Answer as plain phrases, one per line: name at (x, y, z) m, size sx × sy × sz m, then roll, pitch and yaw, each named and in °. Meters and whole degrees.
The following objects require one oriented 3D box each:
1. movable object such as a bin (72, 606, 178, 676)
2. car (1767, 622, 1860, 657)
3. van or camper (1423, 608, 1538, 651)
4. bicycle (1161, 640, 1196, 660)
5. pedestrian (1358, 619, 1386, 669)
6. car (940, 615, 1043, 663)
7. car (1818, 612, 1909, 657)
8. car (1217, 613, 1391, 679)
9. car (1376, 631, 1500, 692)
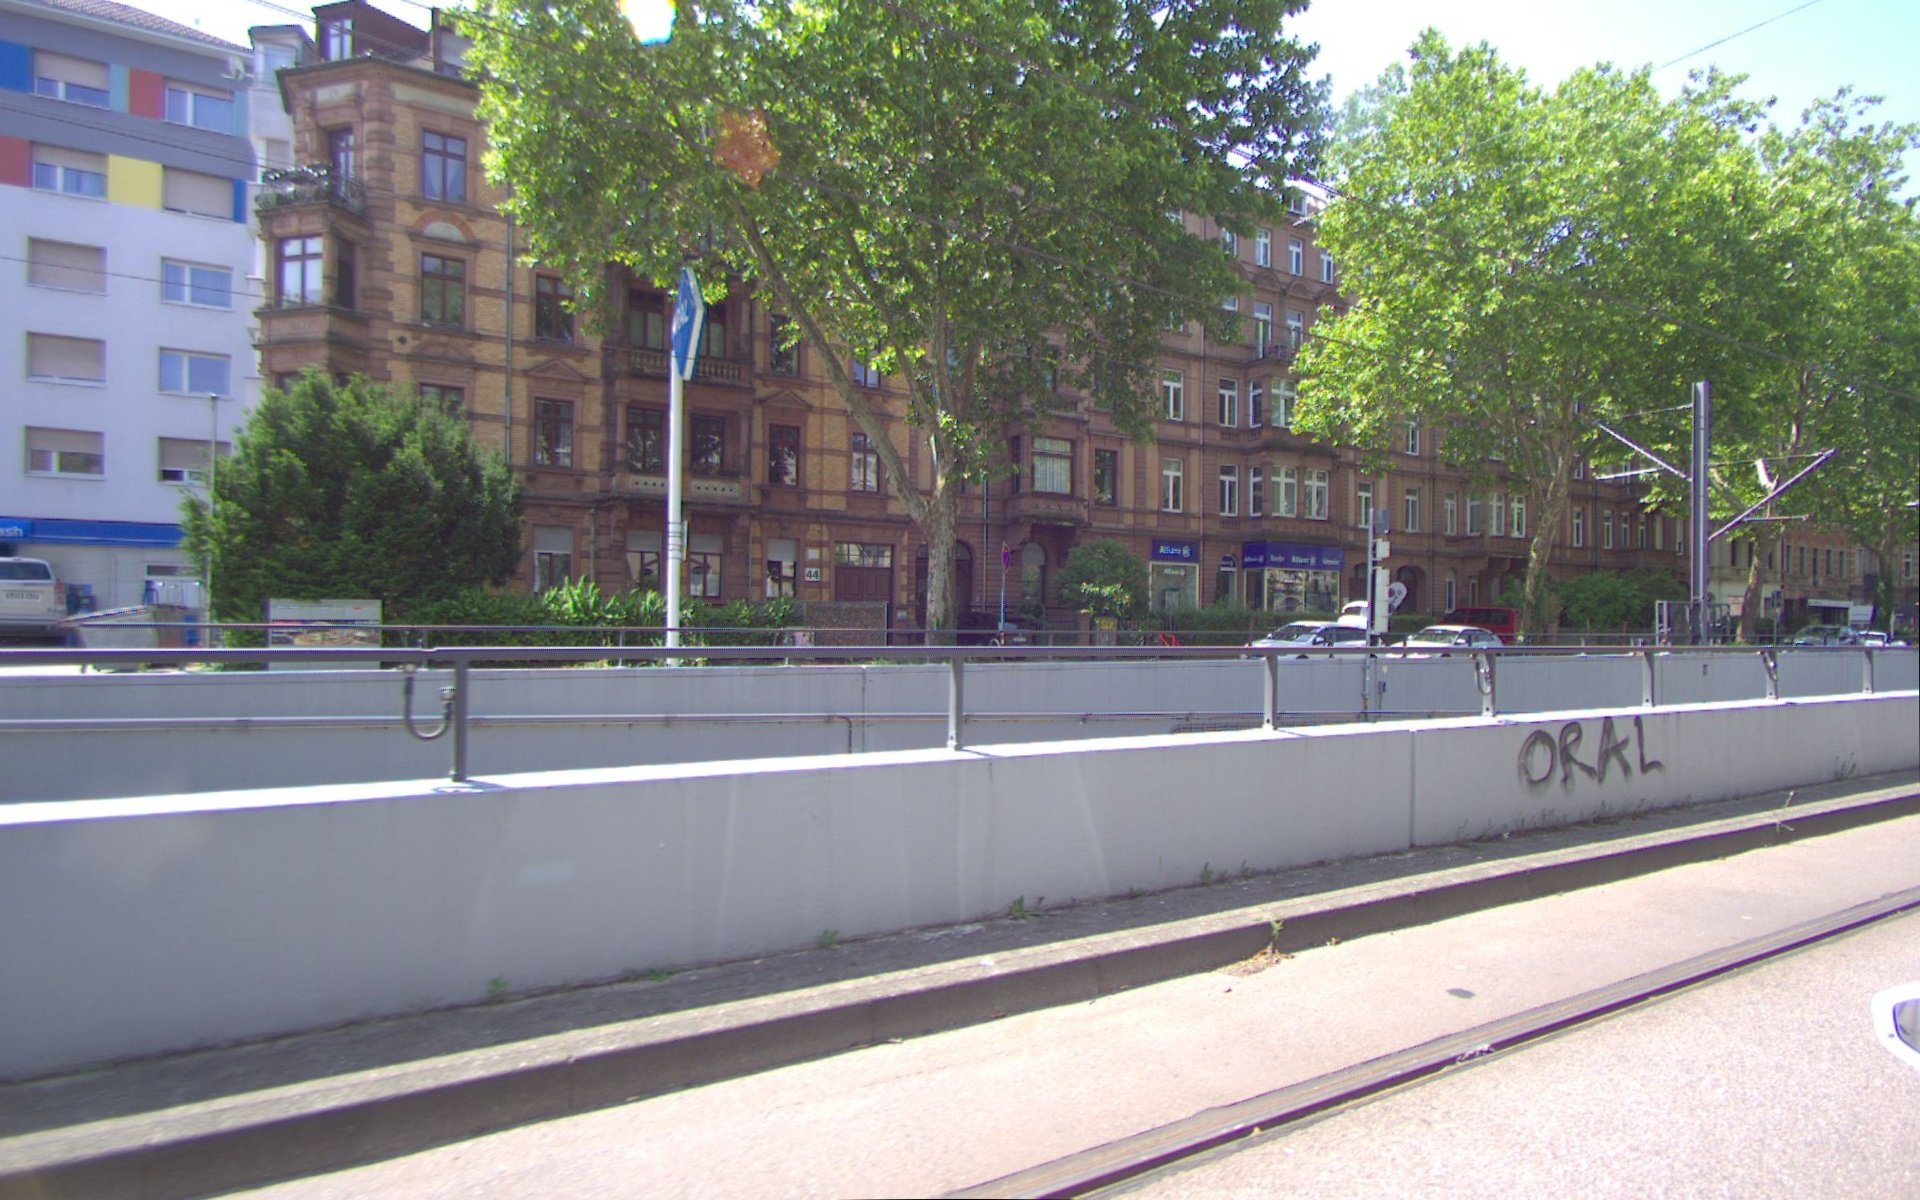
movable object such as a bin at (-17.790, 0.854, 21.472) m, size 1.453 × 1.403 × 1.773 m, roll 1°, pitch -1°, yaw -31°
car at (36.865, 1.703, 43.375) m, size 4.149 × 1.419 × 1.843 m, roll 1°, pitch 0°, yaw -31°
van or camper at (23.821, 1.333, 46.146) m, size 1.905 × 1.861 × 4.533 m, roll 1°, pitch -1°, yaw -23°
bicycle at (7.296, 1.668, 33.577) m, size 1.329 × 0.659 × 0.278 m, roll 1°, pitch -1°, yaw -32°
pedestrian at (11.966, 1.271, 29.191) m, size 0.717 × 1.445 × 0.515 m, roll 1°, pitch 0°, yaw 20°
car at (0.972, 1.215, 32.348) m, size 1.635 × 1.444 × 3.461 m, roll 1°, pitch -1°, yaw -33°
car at (41.525, 1.574, 46.164) m, size 4.100 × 1.930 × 1.984 m, roll 1°, pitch 0°, yaw -31°
car at (9.430, 1.225, 27.460) m, size 4.664 × 1.646 × 1.983 m, roll 1°, pitch 0°, yaw -31°
car at (14.472, 1.812, 30.383) m, size 3.664 × 1.707 × 1.645 m, roll 1°, pitch -1°, yaw -31°
